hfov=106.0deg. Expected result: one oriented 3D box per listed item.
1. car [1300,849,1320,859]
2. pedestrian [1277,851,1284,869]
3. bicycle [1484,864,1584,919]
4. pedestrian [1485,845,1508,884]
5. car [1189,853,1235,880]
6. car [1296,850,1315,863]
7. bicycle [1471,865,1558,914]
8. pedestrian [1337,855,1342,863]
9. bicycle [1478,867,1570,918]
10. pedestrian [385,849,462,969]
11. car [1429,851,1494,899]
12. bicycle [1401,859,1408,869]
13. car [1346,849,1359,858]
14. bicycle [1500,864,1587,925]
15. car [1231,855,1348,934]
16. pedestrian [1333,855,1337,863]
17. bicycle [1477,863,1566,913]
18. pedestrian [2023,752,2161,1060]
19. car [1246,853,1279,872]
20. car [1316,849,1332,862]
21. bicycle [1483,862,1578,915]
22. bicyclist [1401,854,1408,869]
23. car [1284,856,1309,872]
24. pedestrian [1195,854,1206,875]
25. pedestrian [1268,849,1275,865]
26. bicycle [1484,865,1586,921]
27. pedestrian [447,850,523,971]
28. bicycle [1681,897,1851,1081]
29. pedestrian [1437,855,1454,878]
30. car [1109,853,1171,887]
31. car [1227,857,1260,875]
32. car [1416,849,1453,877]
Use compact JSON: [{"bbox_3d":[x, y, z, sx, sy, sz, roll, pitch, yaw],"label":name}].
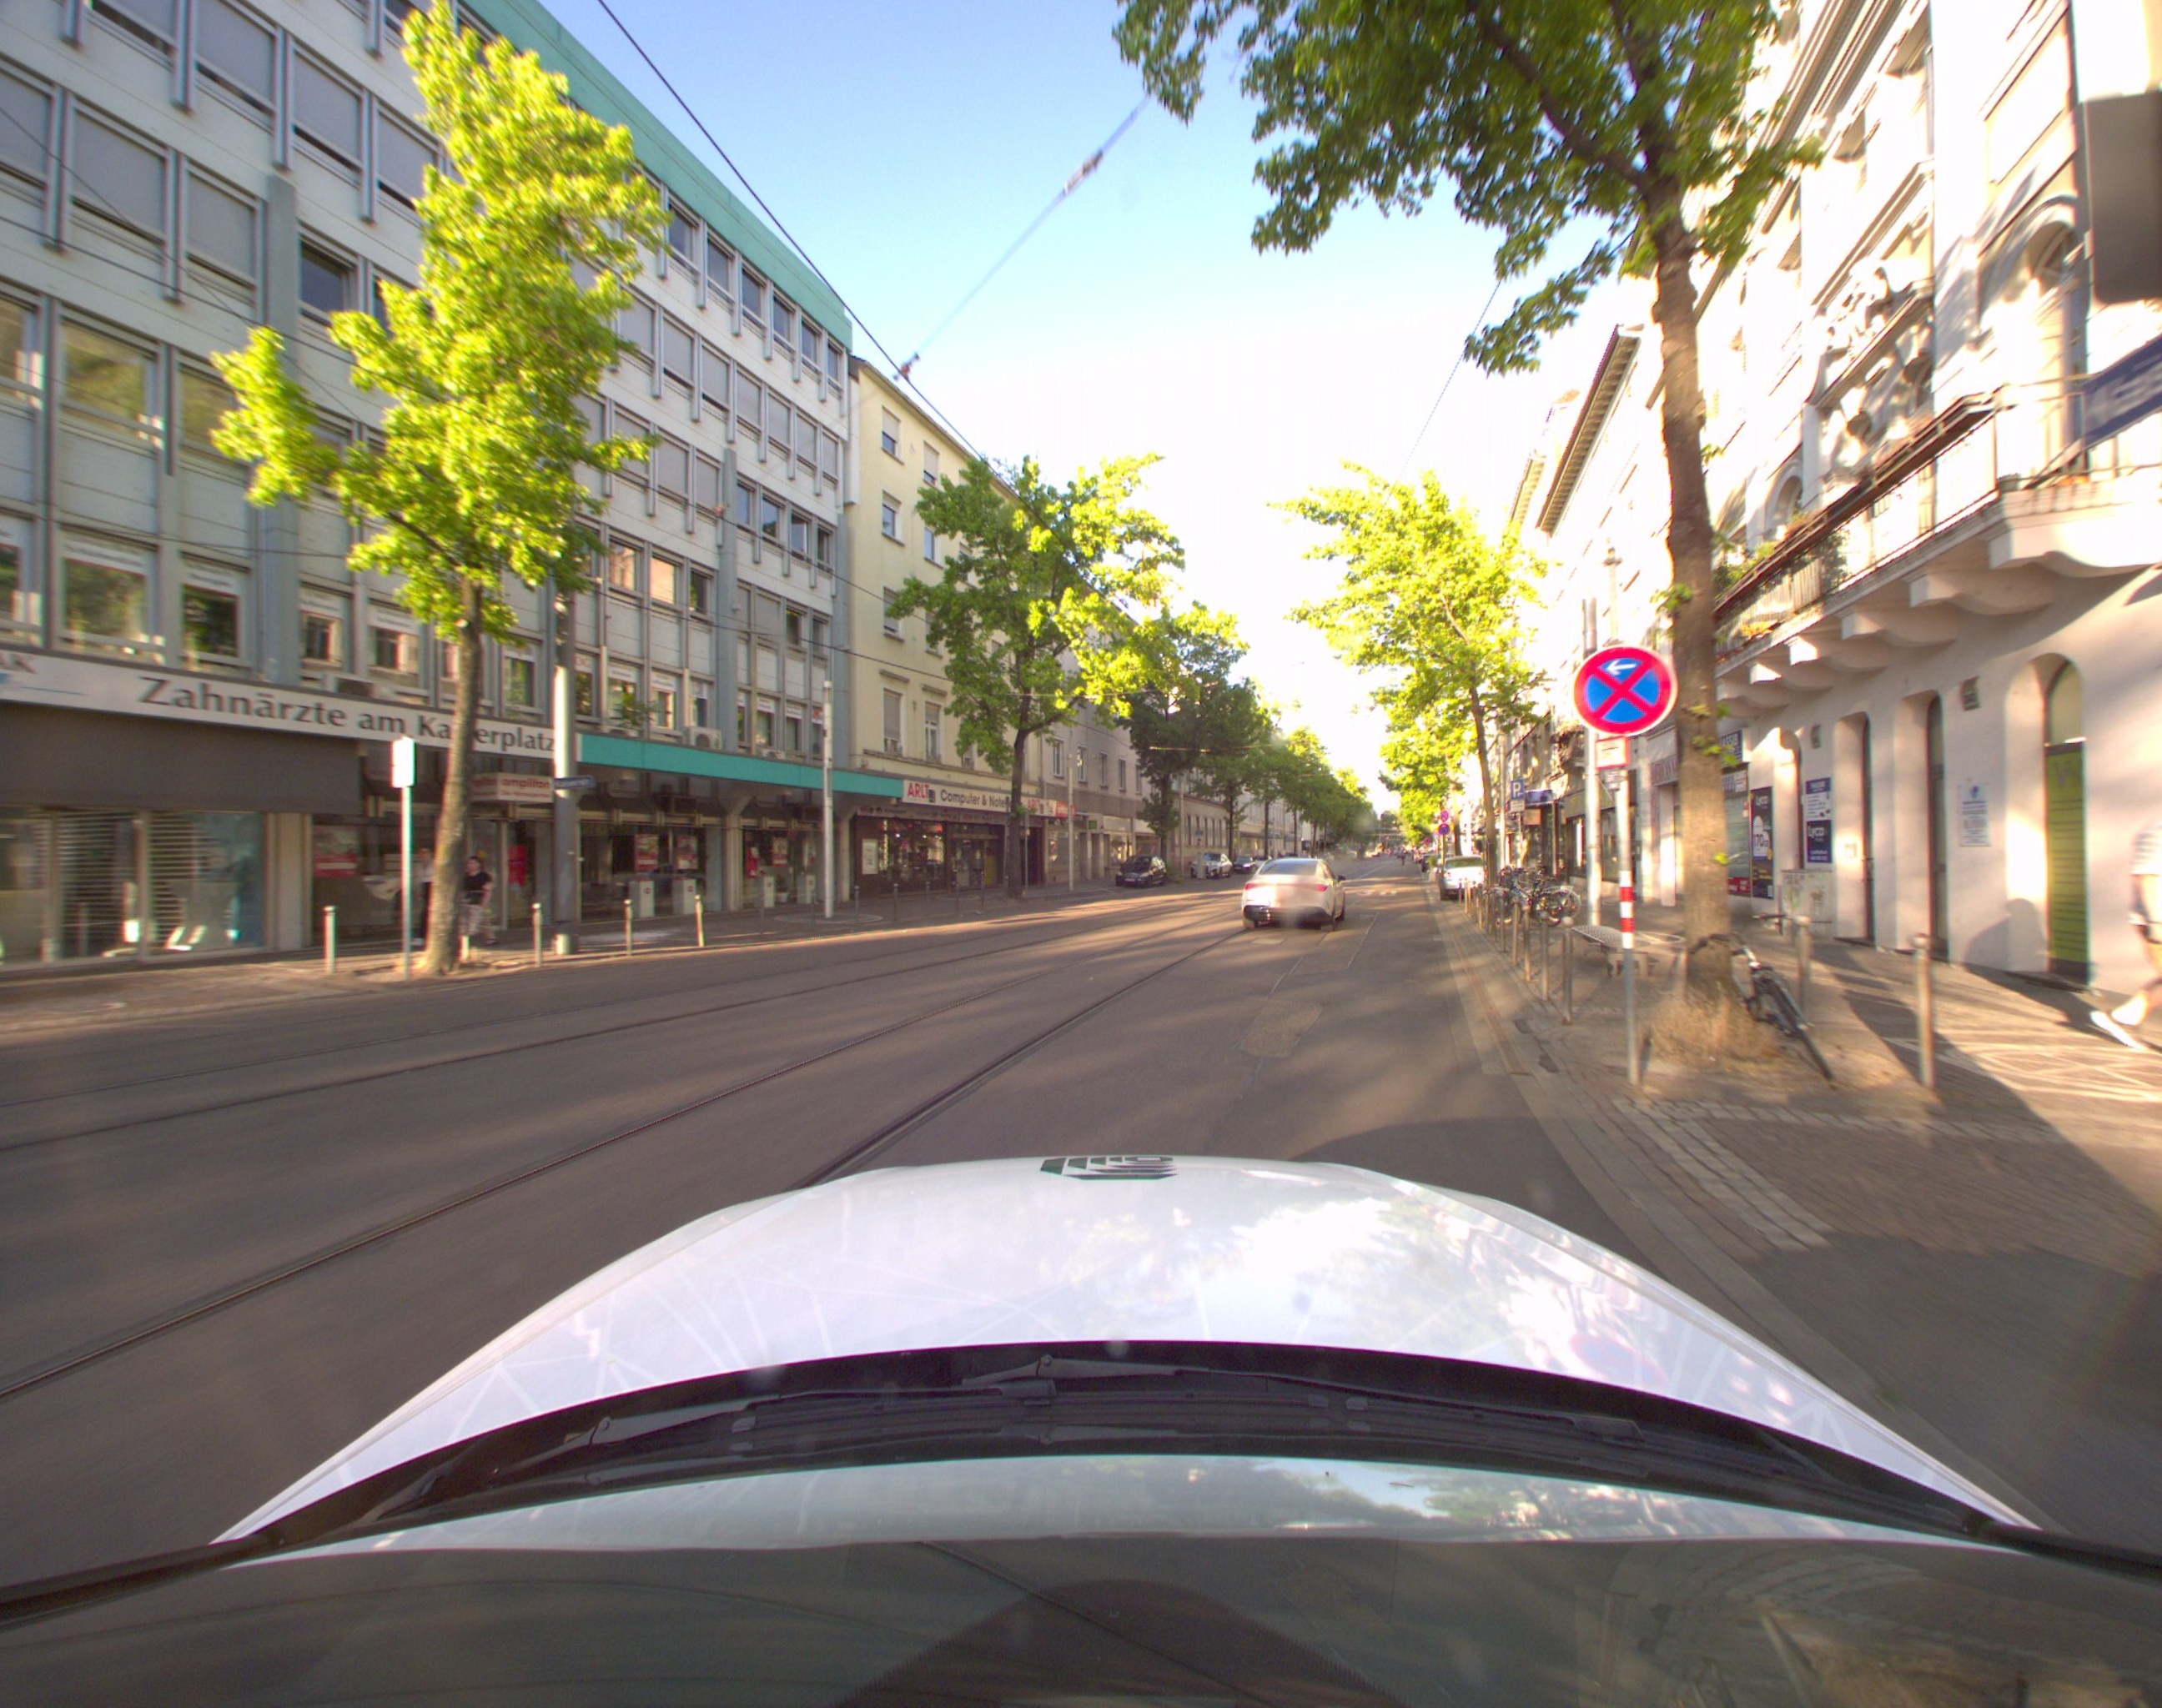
[{"bbox_3d":[30.022,0.003,106.686,1.976,1.292,4.021,0,0,22],"label":"car"},{"bbox_3d":[22.985,0.675,93.837,0.701,2.004,0.679,-1,-1,18],"label":"pedestrian"},{"bbox_3d":[9.854,0.799,17.786,1.849,1.154,0.565,-1,-1,24],"label":"bicycle"},{"bbox_3d":[18.071,0.445,35.462,0.796,1.643,0.760,-2,-1,22],"label":"pedestrian"},{"bbox_3d":[8.930,0.819,55.079,1.945,1.640,4.838,2,1,23],"label":"car"},{"bbox_3d":[27.323,0.317,99.153,1.674,1.499,4.257,0,0,23],"label":"car"},{"bbox_3d":[10.743,0.866,20.250,1.849,1.154,0.565,-1,-1,24],"label":"bicycle"},{"bbox_3d":[47.197,0.928,148.589,0.516,1.478,0.649,-3,-2,-5],"label":"pedestrian"},{"bbox_3d":[10.349,0.881,19.087,1.849,1.154,0.565,-1,-1,24],"label":"bicycle"},{"bbox_3d":[-11.426,0.937,14.166,0.789,2.014,0.738,0,-1,23],"label":"pedestrian"},{"bbox_3d":[13.006,0.696,28.040,1.760,1.440,4.446,-4,-2,23],"label":"car"},{"bbox_3d":[38.053,1.134,95.734,0.734,1.188,2.172,-1,-1,23],"label":"bicycle"},{"bbox_3d":[59.311,-0.091,177.730,1.974,2.014,4.025,-1,0,30],"label":"car"},{"bbox_3d":[9.283,0.780,16.416,0.461,1.154,1.671,0,-1,-17],"label":"bicycle"},{"bbox_3d":[4.605,0.764,17.539,1.851,1.469,4.064,0,0,23],"label":"car"},{"bbox_3d":[45.999,0.932,147.465,0.563,1.464,0.654,-1,-1,42],"label":"pedestrian"},{"bbox_3d":[10.601,0.809,19.653,1.849,1.154,0.565,-1,-1,24],"label":"bicycle"},{"bbox_3d":[7.405,0.341,5.646,0.833,2.014,0.851,-1,-1,23],"label":"pedestrian"},{"bbox_3d":[16.314,0.770,73.001,1.929,1.640,4.936,0,0,24],"label":"car"},{"bbox_3d":[35.681,0.208,119.489,1.538,1.796,3.187,-1,0,31],"label":"car"},{"bbox_3d":[10.142,0.767,18.443,1.849,1.154,0.565,-1,-1,24],"label":"bicycle"},{"bbox_3d":[37.990,0.851,95.611,0.718,1.703,0.815,-1,-1,23],"label":"bicyclist"},{"bbox_3d":[23.857,1.073,90.046,1.944,1.692,5.040,0,0,23],"label":"car"},{"bbox_3d":[9.719,0.821,66.230,0.668,1.680,0.651,-1,-1,22],"label":"pedestrian"},{"bbox_3d":[22.127,0.360,94.392,0.702,1.806,0.678,-1,-1,17],"label":"pedestrian"},{"bbox_3d":[9.615,0.814,17.312,1.849,1.154,0.349,-1,-1,24],"label":"bicycle"},{"bbox_3d":[-10.301,0.950,14.091,0.789,2.014,0.738,0,-1,23],"label":"pedestrian"},{"bbox_3d":[4.912,0.890,5.948,0.351,1.076,1.707,0,-1,19],"label":"bicycle"},{"bbox_3d":[20.516,0.722,45.786,0.809,1.265,0.590,-1,-1,27],"label":"pedestrian"},{"bbox_3d":[3.066,0.784,41.622,1.944,1.640,4.022,0,0,23],"label":"car"},{"bbox_3d":[13.141,0.921,65.657,1.945,1.412,4.870,0,0,20],"label":"car"},{"bbox_3d":[22.439,0.547,51.783,1.786,1.457,3.673,10,3,20],"label":"car"}]
